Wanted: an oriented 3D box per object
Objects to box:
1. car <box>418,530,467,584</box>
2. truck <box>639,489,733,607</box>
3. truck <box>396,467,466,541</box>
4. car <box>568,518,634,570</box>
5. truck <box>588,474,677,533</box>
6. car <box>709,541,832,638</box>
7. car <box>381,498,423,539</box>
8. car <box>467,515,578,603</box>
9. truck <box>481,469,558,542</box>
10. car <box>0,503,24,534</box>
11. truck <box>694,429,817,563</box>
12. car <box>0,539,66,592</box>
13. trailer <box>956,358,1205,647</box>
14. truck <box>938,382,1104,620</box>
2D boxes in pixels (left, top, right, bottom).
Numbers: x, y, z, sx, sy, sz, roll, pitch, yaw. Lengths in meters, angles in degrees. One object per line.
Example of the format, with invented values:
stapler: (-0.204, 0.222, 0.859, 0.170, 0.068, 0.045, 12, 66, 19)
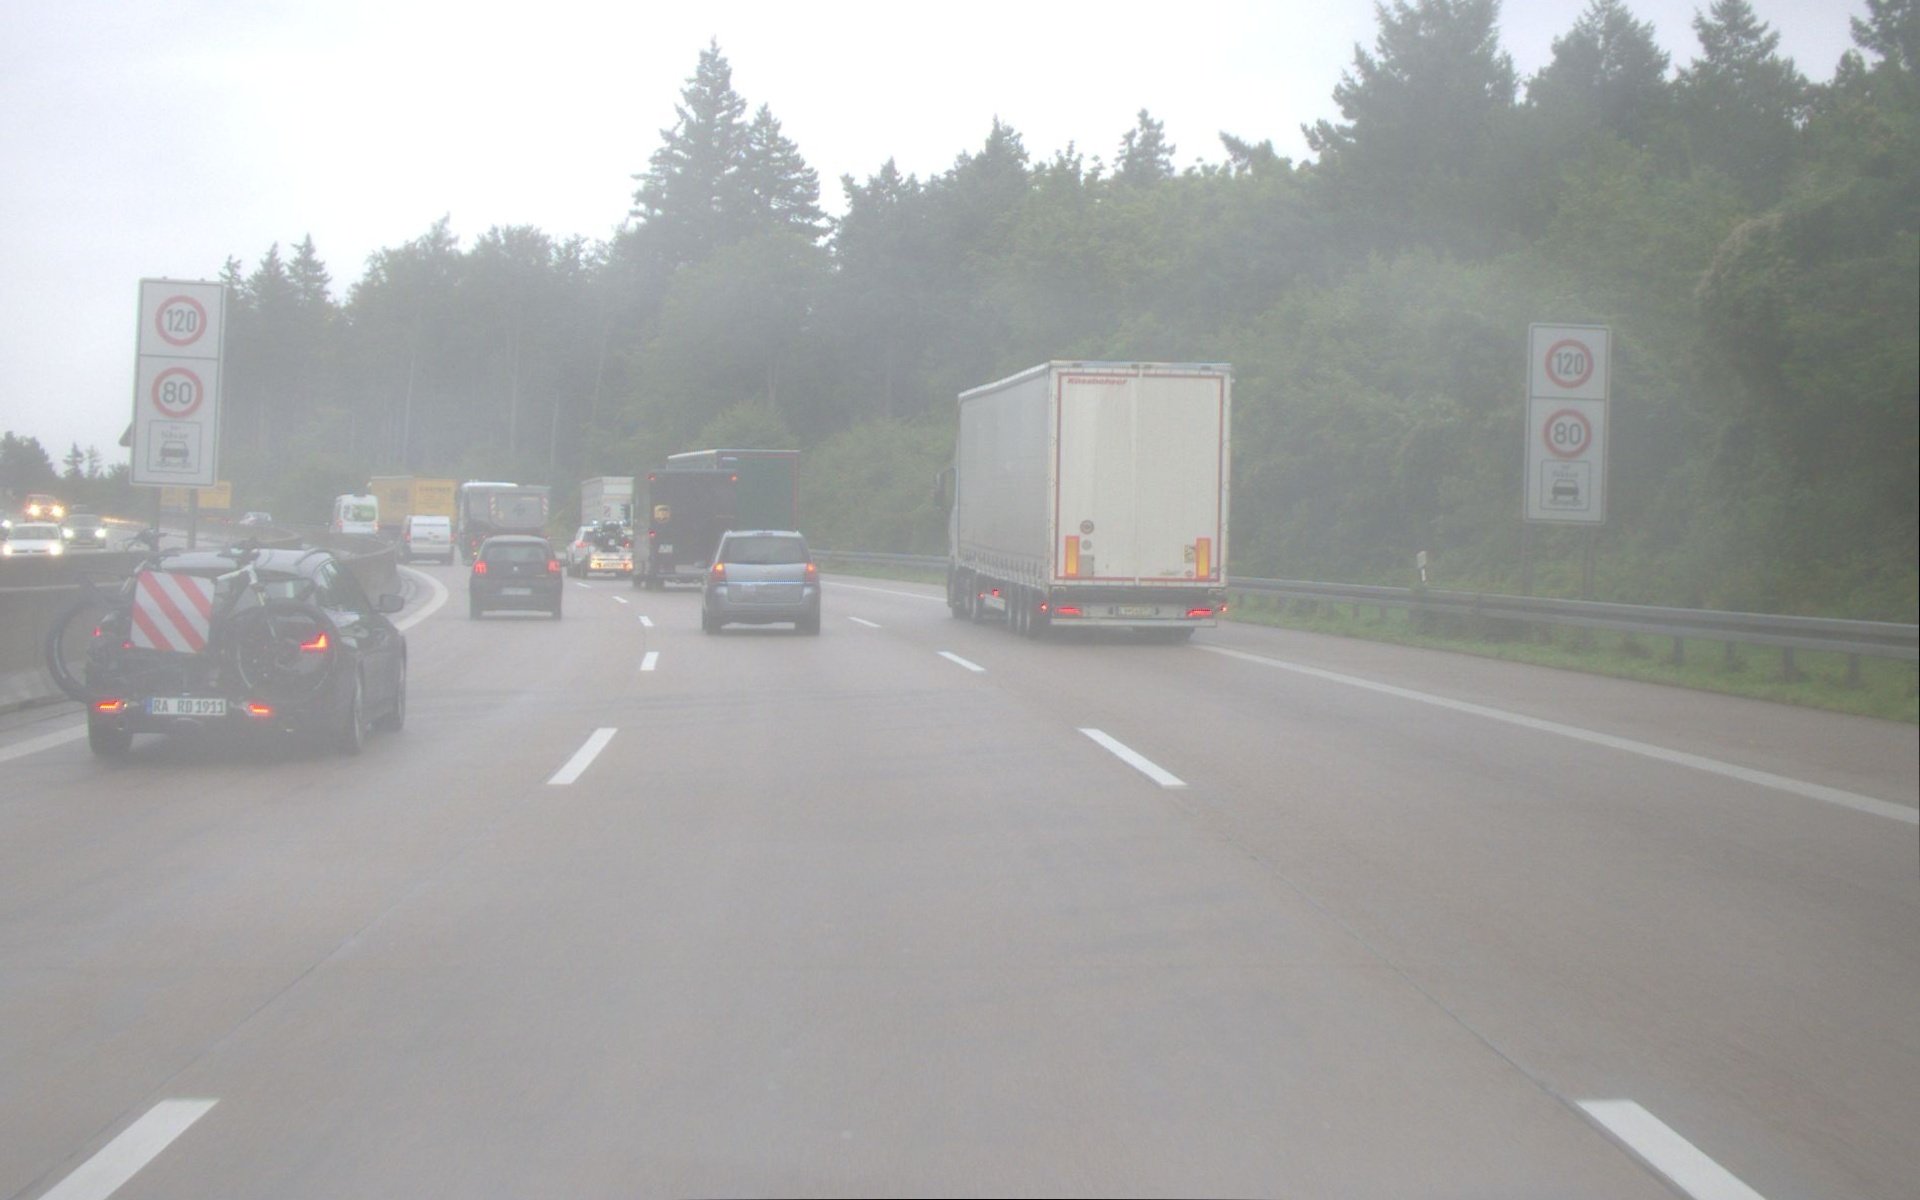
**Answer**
car: (-19.573, -1.642, 130.143, 1.725, 2.007, 3.657, 0, 1, -7)
truck: (-7.134, -1.434, 90.215, 2.269, 2.877, 7.905, 1, 2, -3)
truck: (-30.887, -5.556, 200.355, 3.739, 4.195, 6.820, 0, 1, -11)
car: (-11.035, -1.736, 105.848, 1.881, 1.468, 4.001, 2, 1, -5)
truck: (-13.716, -4.034, 143.669, 2.973, 2.301, 6.669, 2, 1, -11)
car: (-2.968, -0.185, 53.375, 1.553, 1.347, 3.685, 2, 1, -8)
car: (-28.494, -4.126, 175.400, 1.993, 2.052, 4.001, 0, 1, -11)
car: (-7.739, -0.752, 61.054, 1.683, 1.457, 3.684, 2, 1, -4)
truck: (-18.406, -3.983, 143.312, 3.082, 2.895, 7.905, 1, 2, -8)
car: (-51.884, -4.424, 186.224, 1.776, 1.633, 4.255, 0, 1, -8)
truck: (-6.711, -3.334, 111.128, 3.368, 4.117, 10.440, 0, 1, -7)
car: (-27.295, -1.027, 100.347, 1.776, 1.513, 4.001, 0, 1, -6)
trailer: (1.700, -1.530, 54.501, 2.419, 4.054, 12.057, 0, 1, -5)
truck: (1.037, -1.763, 61.602, 2.419, 4.054, 4.979, 0, 1, -5)
